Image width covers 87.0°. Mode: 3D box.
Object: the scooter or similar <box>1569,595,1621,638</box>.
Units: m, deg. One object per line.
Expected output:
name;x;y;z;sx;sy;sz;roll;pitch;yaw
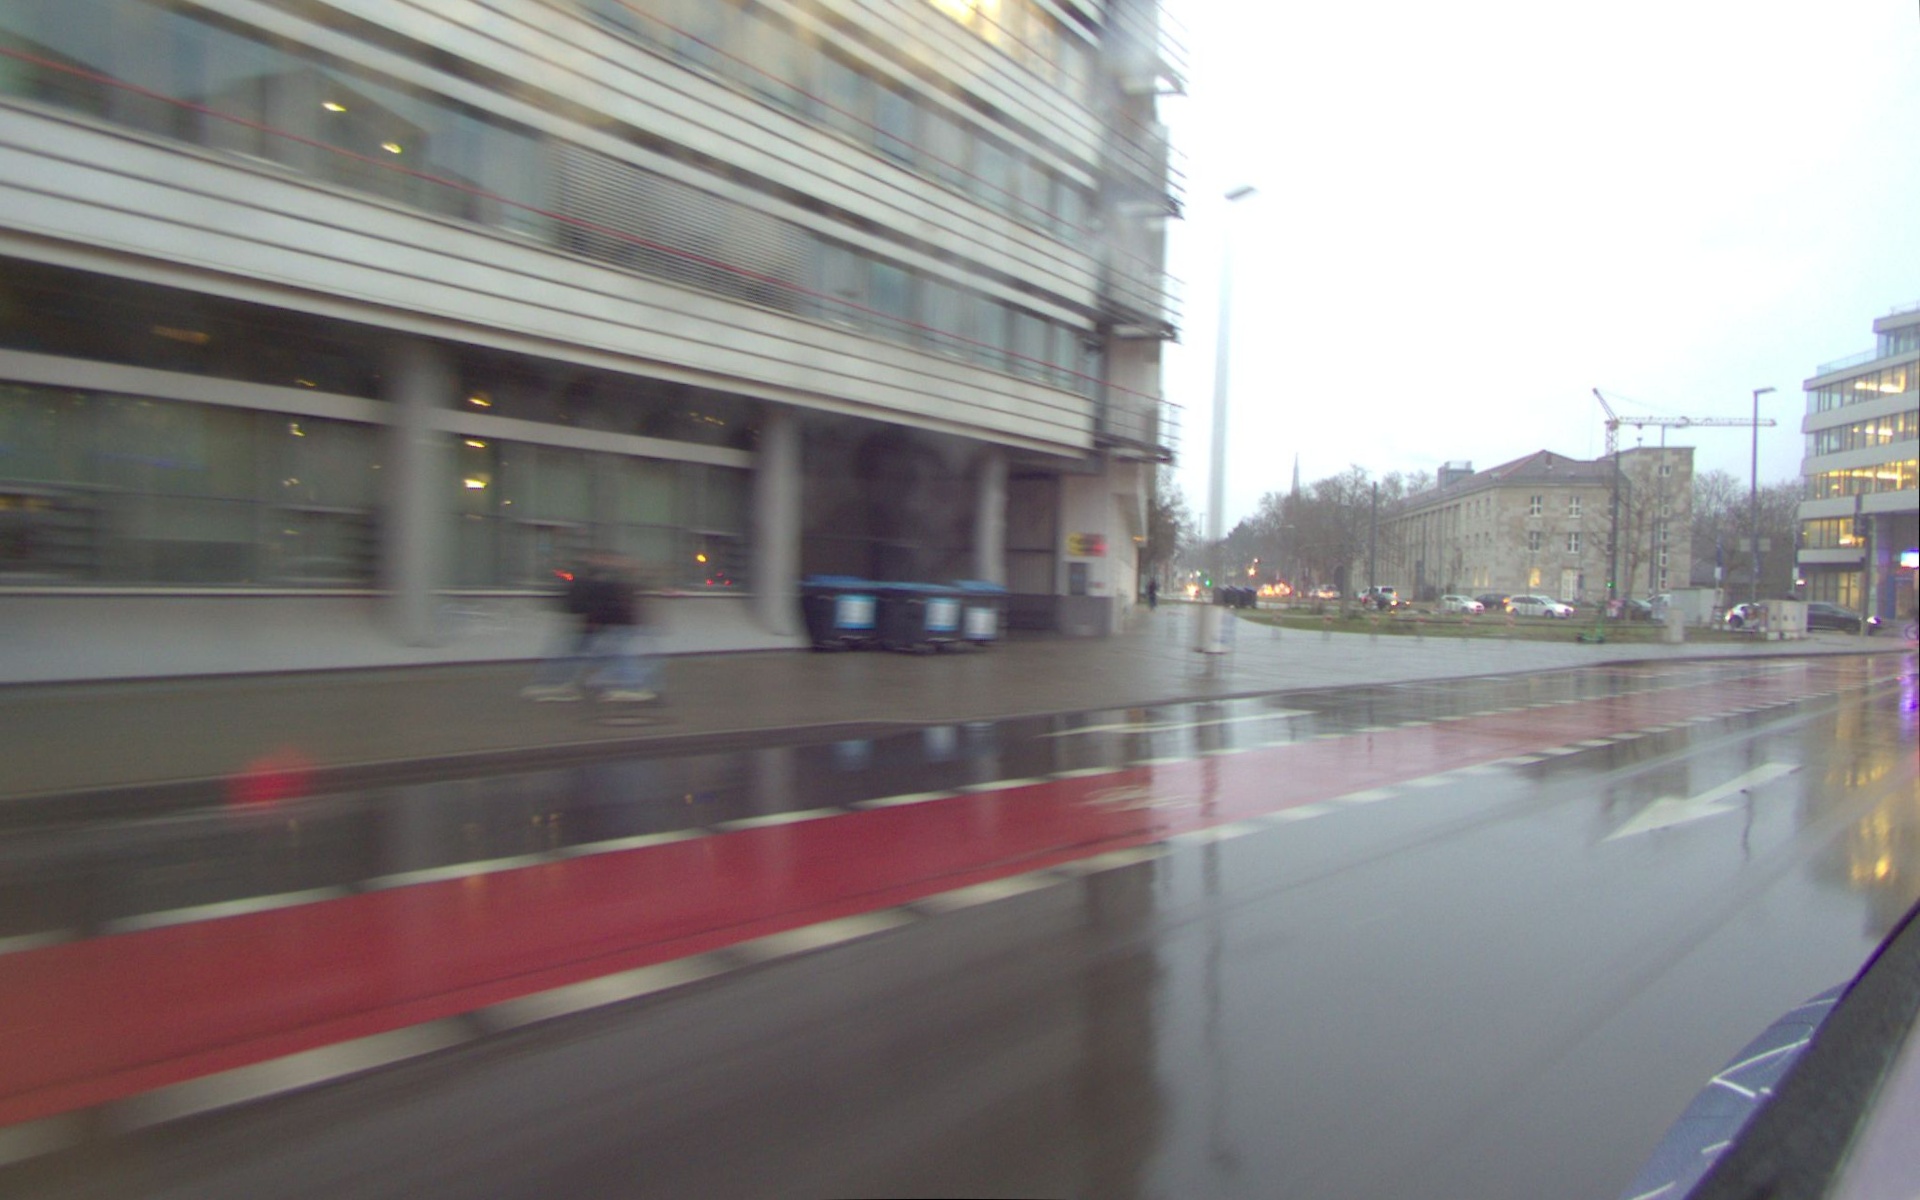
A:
scooter or similar;19.318;0.491;30.798;1.525;1.242;0.671;-1;2;-28

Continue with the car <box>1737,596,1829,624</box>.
car;48.996;0.568;60.329;1.728;1.481;3.923;-1;2;-29

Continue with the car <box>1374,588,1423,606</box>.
car;37.486;-0.253;86.640;1.839;1.493;4.178;0;1;-10

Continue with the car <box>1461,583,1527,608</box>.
car;49.066;-0.440;93.094;1.912;2.084;5.674;1;1;-17

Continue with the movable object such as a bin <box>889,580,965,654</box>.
movable object such as a bin;-0.621;0.296;19.100;0.843;1.310;1.152;4;3;39

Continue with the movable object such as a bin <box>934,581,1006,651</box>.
movable object such as a bin;0.204;0.293;20.131;0.843;1.310;1.152;4;3;39

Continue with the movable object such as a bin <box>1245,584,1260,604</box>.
movable object such as a bin;21.128;-0.451;73.134;1.038;1.450;1.219;1;1;16

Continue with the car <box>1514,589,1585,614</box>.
car;42.583;0.080;73.245;1.642;1.619;4.231;1;1;-25

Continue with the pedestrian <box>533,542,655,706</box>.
pedestrian;-4.044;0.241;11.196;1.050;1.707;0.794;0;1;-41

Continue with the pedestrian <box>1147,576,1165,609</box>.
pedestrian;9.972;-0.392;51.455;0.630;1.653;0.711;2;1;41

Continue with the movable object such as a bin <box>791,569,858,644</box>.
movable object such as a bin;-2.655;0.113;19.884;0.728;1.399;1.064;4;3;39

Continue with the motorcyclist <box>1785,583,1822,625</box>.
motorcyclist;38.931;0.193;46.722;0.870;1.905;0.921;1;1;2

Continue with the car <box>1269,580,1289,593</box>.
car;50.445;-2.109;160.006;1.870;1.894;4.960;-1;2;3

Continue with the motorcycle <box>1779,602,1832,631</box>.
motorcycle;38.955;0.744;46.659;0.475;1.198;2.408;1;1;3

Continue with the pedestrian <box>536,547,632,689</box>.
pedestrian;-4.572;0.202;12.291;0.886;1.645;0.727;0;1;-41

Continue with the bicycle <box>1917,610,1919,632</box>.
bicycle;44.176;0.994;45.264;0.643;0.985;1.871;1;1;-18

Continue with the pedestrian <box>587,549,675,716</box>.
pedestrian;-3.507;0.327;10.791;0.732;1.704;0.532;0;1;-41

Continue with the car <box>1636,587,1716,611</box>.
car;55.345;-0.098;78.309;1.891;1.740;4.614;1;1;-32

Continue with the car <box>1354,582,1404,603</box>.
car;44.986;-0.818;108.756;1.912;2.084;5.673;1;1;-13

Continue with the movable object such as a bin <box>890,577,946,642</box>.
movable object such as a bin;-0.895;0.191;21.778;0.728;1.321;0.950;4;3;39

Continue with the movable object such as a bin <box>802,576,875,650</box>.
movable object such as a bin;-2.260;0.223;18.891;0.864;1.310;0.998;4;3;39

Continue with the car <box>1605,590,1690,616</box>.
car;45.524;0.197;67.116;1.789;1.589;4.370;1;1;-25

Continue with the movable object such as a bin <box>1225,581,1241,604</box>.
movable object such as a bin;19.430;-0.540;72.081;1.038;1.595;1.135;1;1;16

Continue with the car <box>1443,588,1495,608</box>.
car;39.889;-0.151;79.319;1.655;1.448;3.354;0;2;-22

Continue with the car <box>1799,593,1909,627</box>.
car;48.062;0.508;54.471;1.864;1.619;4.012;1;1;-29

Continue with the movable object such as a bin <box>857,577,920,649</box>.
movable object such as a bin;-1.395;0.239;19.767;0.728;1.321;0.950;4;3;39

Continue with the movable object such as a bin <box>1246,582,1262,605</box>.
movable object such as a bin;20.835;-0.467;71.636;1.038;1.529;1.247;1;1;16

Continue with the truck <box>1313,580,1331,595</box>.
truck;51.202;-1.790;143.258;1.811;2.070;3.985;1;1;13
